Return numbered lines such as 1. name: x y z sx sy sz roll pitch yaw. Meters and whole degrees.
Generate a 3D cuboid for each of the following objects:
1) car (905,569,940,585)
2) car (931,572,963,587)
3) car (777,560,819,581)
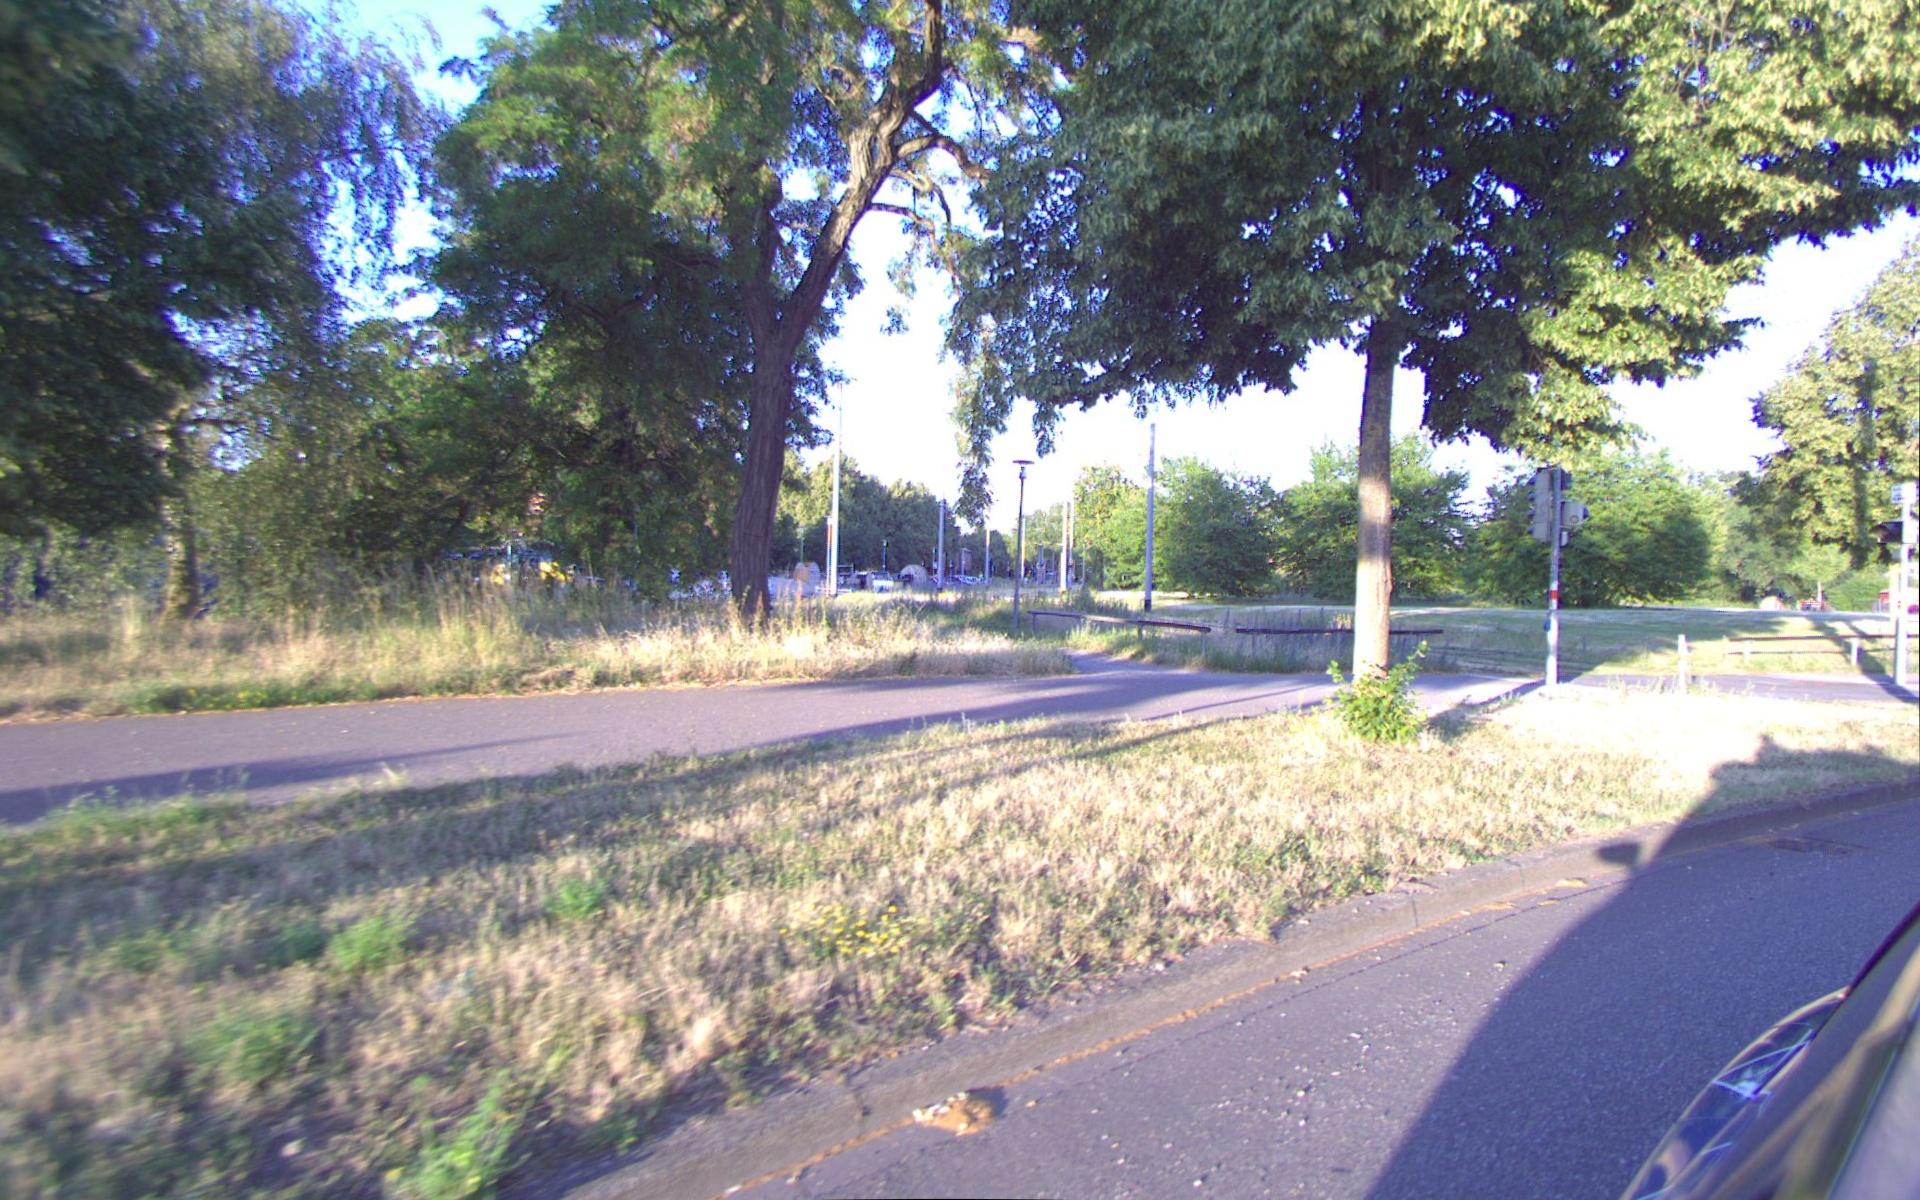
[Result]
1. car: -4.055 -2.476 109.384 3.546 1.500 1.710 2 0 3
2. car: -1.511 -2.399 117.453 3.546 1.500 1.710 2 0 3
3. car: -16.970 -3.090 106.181 3.930 2.121 1.901 1 1 6
